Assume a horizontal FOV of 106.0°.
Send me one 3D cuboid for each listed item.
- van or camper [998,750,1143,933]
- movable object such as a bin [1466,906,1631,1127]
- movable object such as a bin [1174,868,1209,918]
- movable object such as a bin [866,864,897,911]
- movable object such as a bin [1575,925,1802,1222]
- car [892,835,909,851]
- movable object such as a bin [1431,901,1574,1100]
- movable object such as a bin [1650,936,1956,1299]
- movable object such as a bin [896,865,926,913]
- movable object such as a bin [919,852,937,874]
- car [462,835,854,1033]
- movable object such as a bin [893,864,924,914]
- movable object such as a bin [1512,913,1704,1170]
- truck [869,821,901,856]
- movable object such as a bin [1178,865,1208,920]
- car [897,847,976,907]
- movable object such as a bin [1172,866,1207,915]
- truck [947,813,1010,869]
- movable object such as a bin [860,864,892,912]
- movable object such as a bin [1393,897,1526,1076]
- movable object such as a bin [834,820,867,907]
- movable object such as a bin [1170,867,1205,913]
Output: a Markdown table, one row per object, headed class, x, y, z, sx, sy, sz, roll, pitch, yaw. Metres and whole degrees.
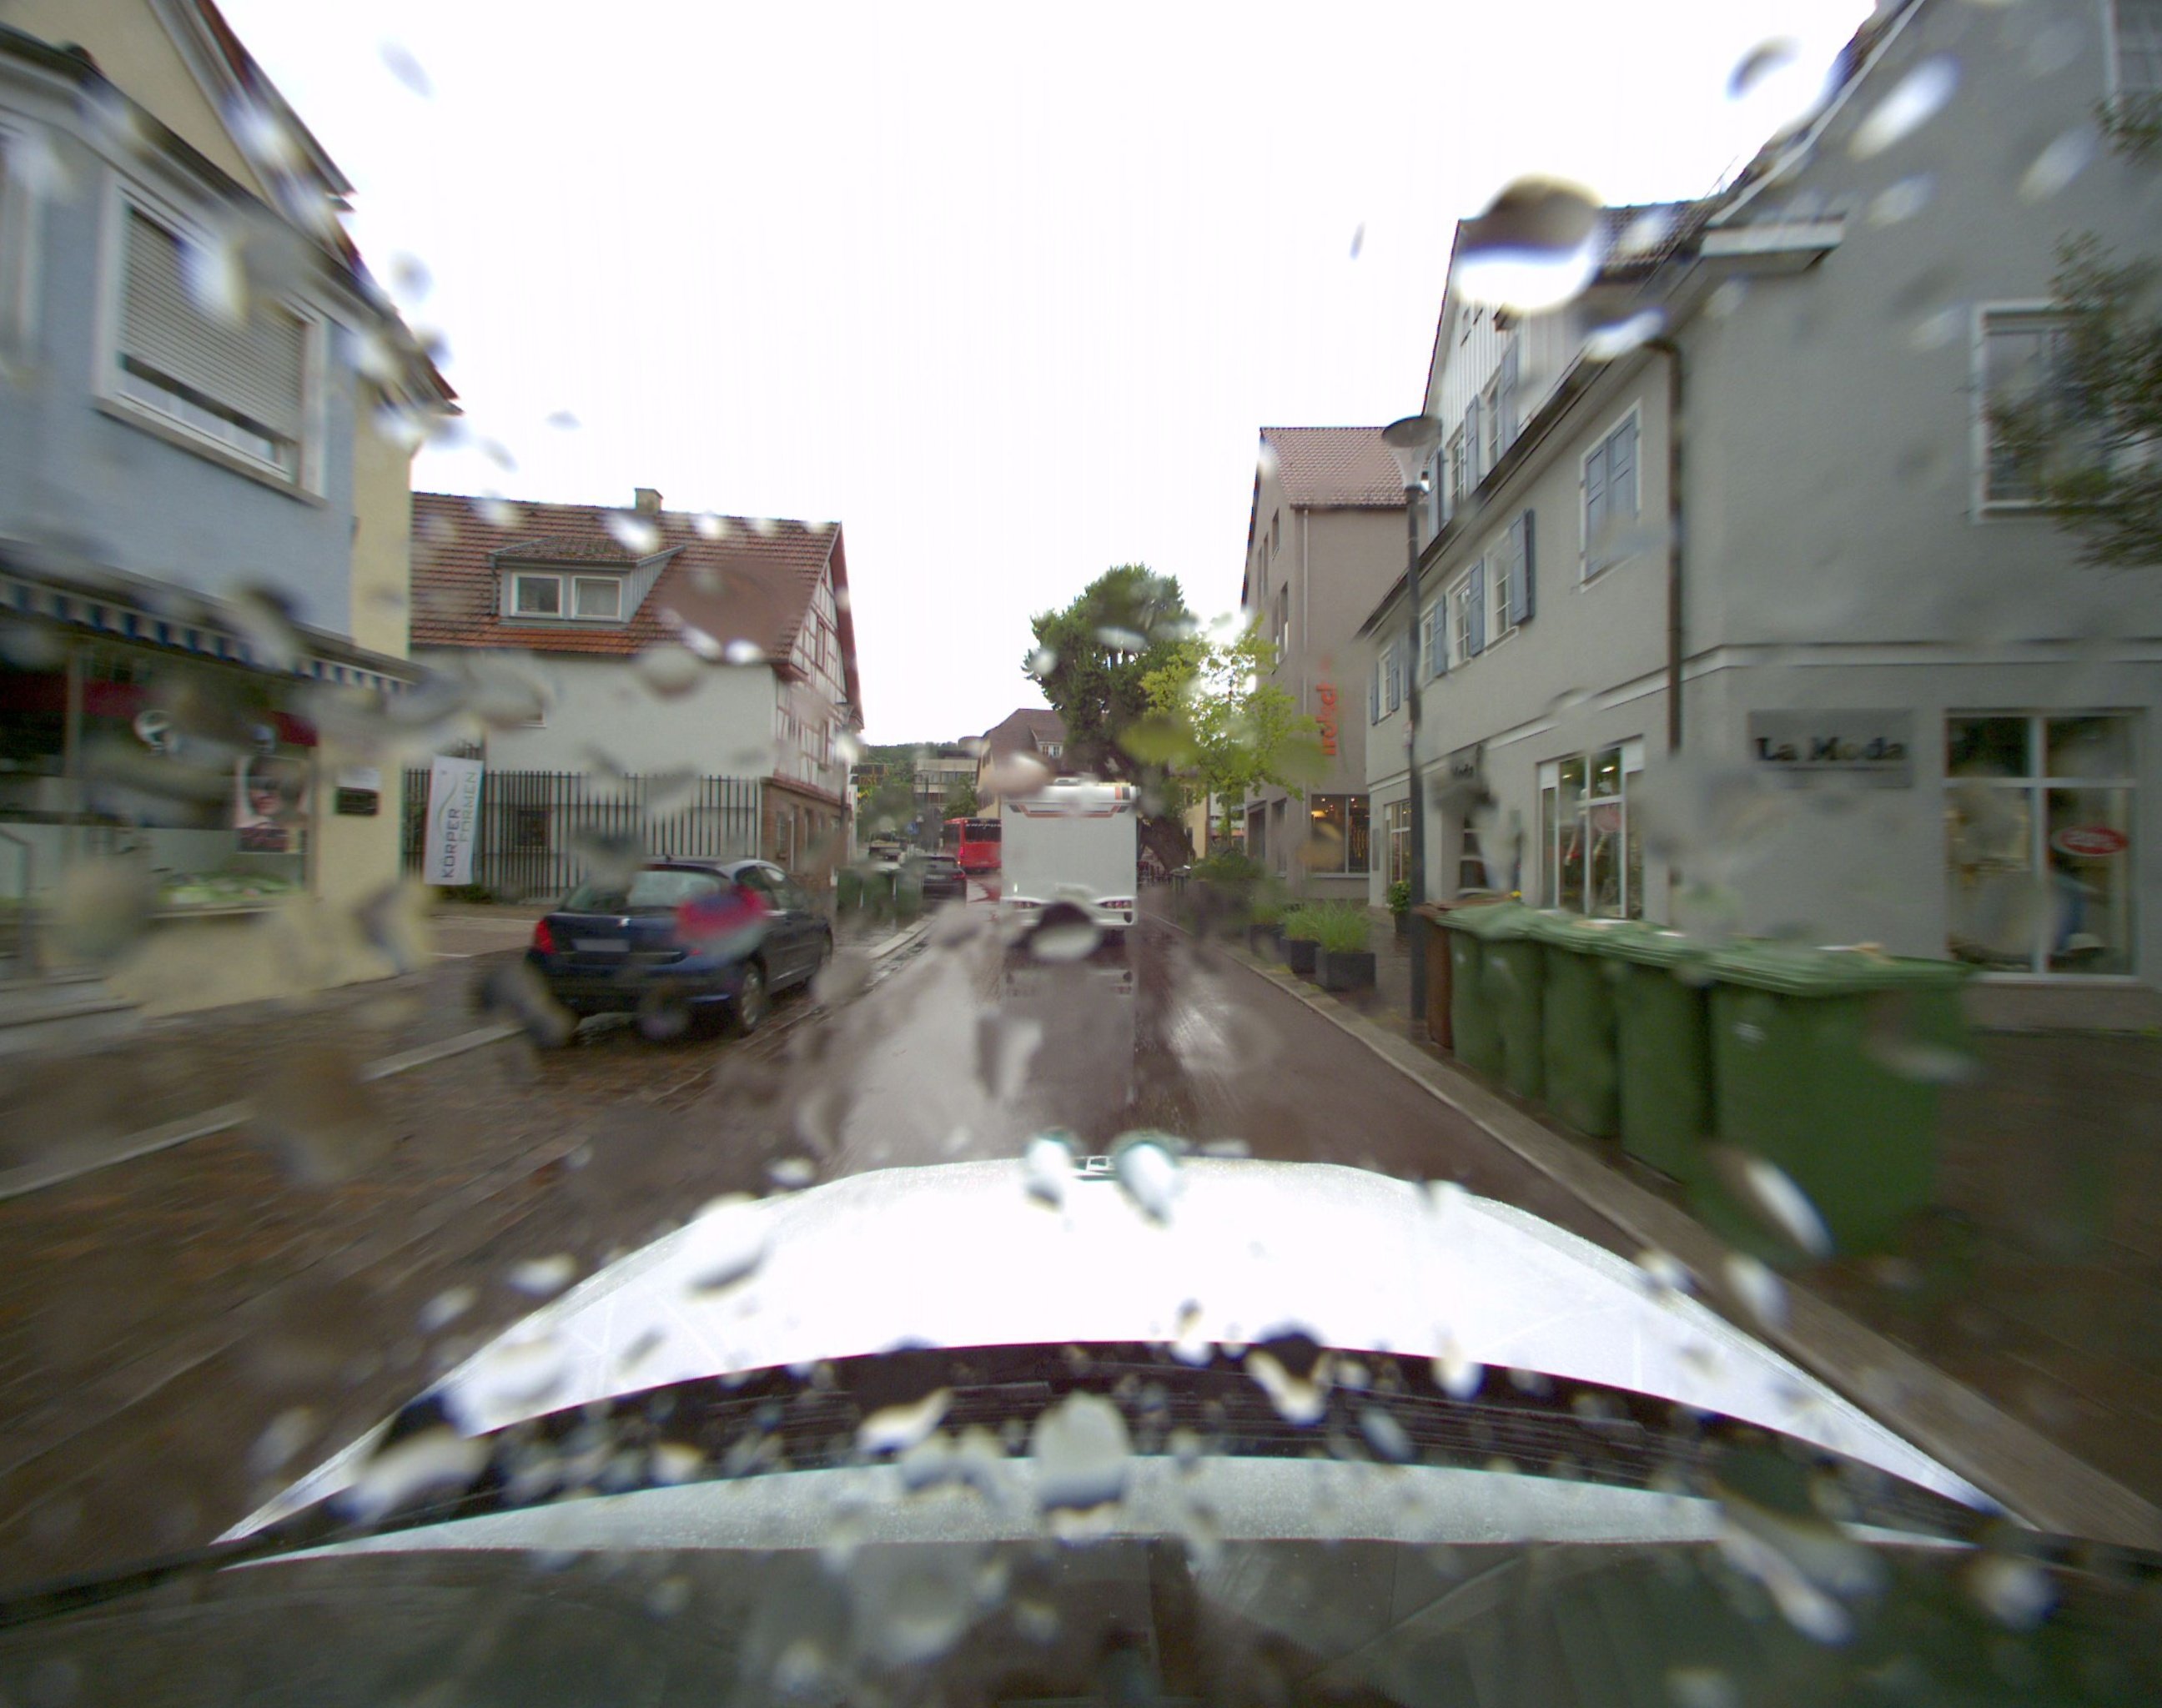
| class | x | y | z | sx | sy | sz | roll | pitch | yaw |
| --- | --- | --- | --- | --- | --- | --- | --- | --- | --- |
| van or camper | -0.361 | -0.158 | 16.283 | 2.321 | 2.919 | 6.384 | 0 | -1 | -4 |
| movable object such as a bin | 2.802 | 0.945 | 4.937 | 0.675 | 1.232 | 0.565 | 0 | -1 | 1 |
| movable object such as a bin | 2.455 | 0.852 | 18.070 | 0.691 | 1.102 | 0.561 | 0 | -1 | -2 |
| movable object such as a bin | -4.803 | 0.793 | 19.659 | 0.629 | 1.123 | 0.732 | 0 | -1 | -7 |
| movable object such as a bin | 2.808 | 0.977 | 3.817 | 0.656 | 1.245 | 0.543 | 0 | -1 | 1 |
| car | -24.282 | -1.481 | 109.507 | 1.998 | 2.014 | 3.977 | 0 | -1 | -16 |
| movable object such as a bin | 2.828 | 0.955 | 5.512 | 0.675 | 1.250 | 0.565 | 0 | -1 | 1 |
| movable object such as a bin | 2.802 | 0.974 | 3.230 | 0.656 | 1.238 | 0.621 | 0 | -1 | 1 |
| movable object such as a bin | -4.062 | 0.824 | 19.530 | 0.629 | 1.123 | 0.732 | 0 | -1 | -7 |
| movable object such as a bin | -7.247 | 0.420 | 38.535 | 0.819 | 1.051 | 0.696 | 0 | -1 | -14 |
| car | -3.733 | 0.604 | 8.149 | 1.989 | 1.472 | 3.995 | 1 | 0 | -4 |
| movable object such as a bin | -3.969 | 0.793 | 18.768 | 0.629 | 1.113 | 0.732 | 0 | -1 | -7 |
| movable object such as a bin | 2.798 | 0.960 | 4.372 | 0.675 | 1.256 | 0.543 | 0 | -1 | 1 |
| truck | -16.819 | -1.264 | 69.769 | 2.286 | 2.758 | 5.536 | 0 | -1 | -17 |
| movable object such as a bin | 2.402 | 0.821 | 17.480 | 0.542 | 1.156 | 0.576 | 0 | -1 | -2 |
| car | -4.166 | 0.585 | 23.188 | 1.995 | 1.494 | 3.984 | 2 | 0 | -12 |
| movable object such as a bin | 2.483 | 0.825 | 18.728 | 0.727 | 1.102 | 0.561 | 0 | -1 | -2 |
| truck | -5.899 | -0.611 | 46.094 | 2.468 | 2.939 | 6.161 | 0 | -1 | -17 |
| movable object such as a bin | -4.741 | 0.778 | 18.887 | 0.629 | 1.052 | 0.732 | 0 | 3 | -7 |
| movable object such as a bin | 2.833 | 0.964 | 6.167 | 0.675 | 1.241 | 0.731 | 0 | -1 | 1 |
| movable object such as a bin | -5.421 | 0.222 | 19.201 | 0.629 | 2.014 | 0.745 | 0 | -1 | -7 |
| movable object such as a bin | 2.517 | 0.847 | 19.308 | 0.727 | 1.080 | 0.576 | 0 | -1 | -2 |
